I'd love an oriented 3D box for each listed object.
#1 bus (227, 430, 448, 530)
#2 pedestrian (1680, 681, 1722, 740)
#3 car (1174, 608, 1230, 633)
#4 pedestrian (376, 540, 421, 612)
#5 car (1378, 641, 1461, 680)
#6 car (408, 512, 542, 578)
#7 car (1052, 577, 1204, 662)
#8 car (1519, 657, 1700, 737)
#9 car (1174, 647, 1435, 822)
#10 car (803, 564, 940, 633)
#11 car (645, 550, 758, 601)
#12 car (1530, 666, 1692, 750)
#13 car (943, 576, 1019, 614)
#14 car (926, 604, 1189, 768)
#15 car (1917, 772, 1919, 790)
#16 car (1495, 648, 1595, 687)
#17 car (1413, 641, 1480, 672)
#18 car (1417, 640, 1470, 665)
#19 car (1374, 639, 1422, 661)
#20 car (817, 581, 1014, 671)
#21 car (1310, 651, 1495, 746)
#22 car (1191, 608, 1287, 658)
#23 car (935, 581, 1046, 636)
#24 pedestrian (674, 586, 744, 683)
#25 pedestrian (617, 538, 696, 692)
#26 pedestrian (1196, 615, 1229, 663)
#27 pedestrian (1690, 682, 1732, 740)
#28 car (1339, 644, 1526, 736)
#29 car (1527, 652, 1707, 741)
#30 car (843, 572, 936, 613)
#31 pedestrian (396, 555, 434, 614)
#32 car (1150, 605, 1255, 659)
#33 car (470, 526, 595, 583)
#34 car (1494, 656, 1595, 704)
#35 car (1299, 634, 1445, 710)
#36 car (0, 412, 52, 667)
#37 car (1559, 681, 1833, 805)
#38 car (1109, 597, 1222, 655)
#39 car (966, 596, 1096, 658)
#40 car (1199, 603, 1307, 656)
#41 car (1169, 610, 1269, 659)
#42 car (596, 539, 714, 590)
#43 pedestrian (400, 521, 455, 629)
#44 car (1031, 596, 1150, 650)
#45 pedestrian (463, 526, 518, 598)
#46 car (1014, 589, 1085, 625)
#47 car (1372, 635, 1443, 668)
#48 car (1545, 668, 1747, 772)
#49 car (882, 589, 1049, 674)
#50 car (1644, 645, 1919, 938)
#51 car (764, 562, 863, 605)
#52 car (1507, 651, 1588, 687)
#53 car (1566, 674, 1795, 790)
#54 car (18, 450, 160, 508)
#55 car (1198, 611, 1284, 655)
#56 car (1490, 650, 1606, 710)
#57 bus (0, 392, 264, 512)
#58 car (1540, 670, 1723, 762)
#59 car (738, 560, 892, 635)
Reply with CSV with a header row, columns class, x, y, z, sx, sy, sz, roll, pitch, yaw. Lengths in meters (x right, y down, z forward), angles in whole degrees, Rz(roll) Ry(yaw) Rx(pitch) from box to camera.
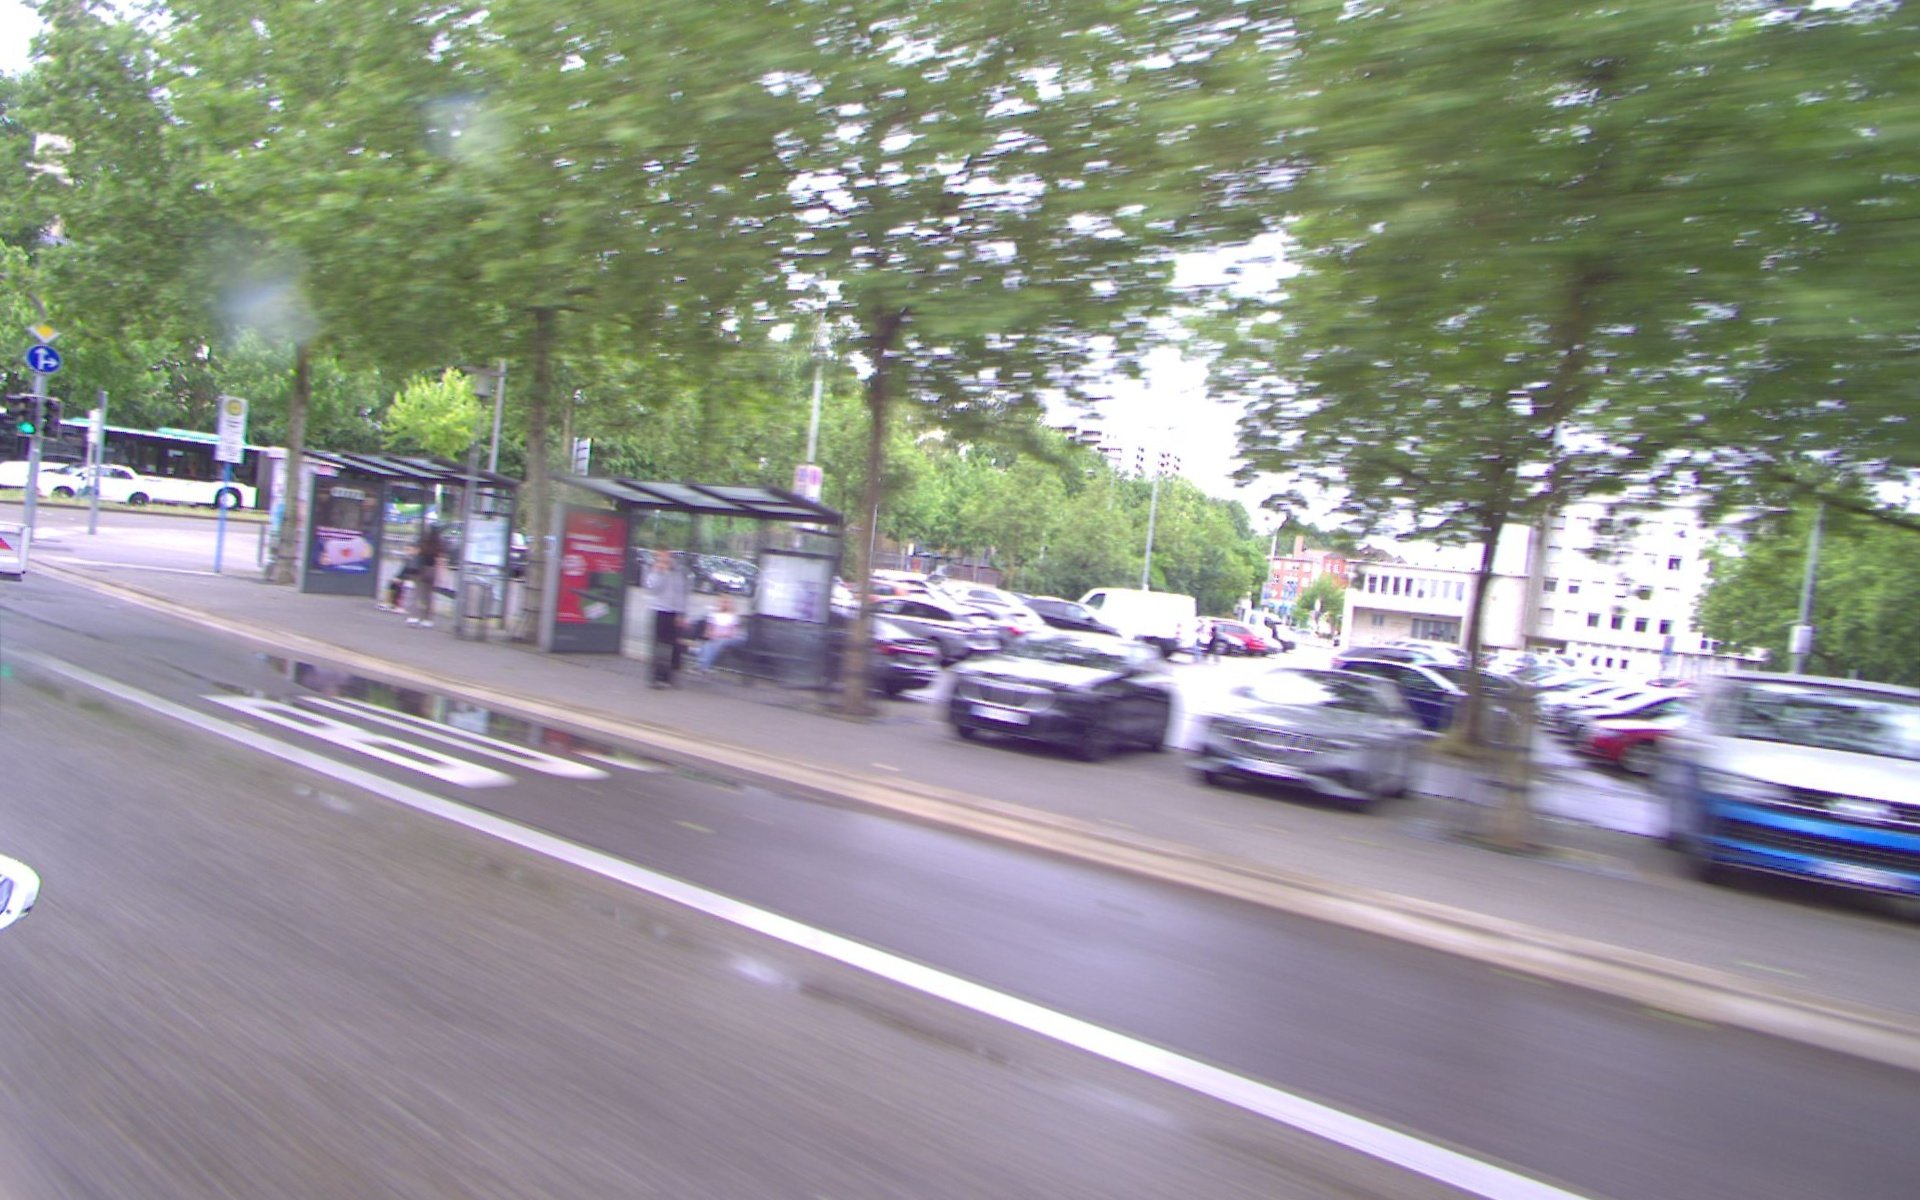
class,x,y,z,sx,sy,sz,roll,pitch,yaw
bus,-29.455,-5.592,48.151,2.642,3.221,8.542,10,2,30
pedestrian,22.189,3.312,30.148,0.727,1.614,0.575,9,4,29
car,18.976,1.624,78.909,3.757,1.440,1.695,9,2,36
pedestrian,-10.646,-0.453,19.079,0.395,1.288,0.499,9,3,31
car,21.463,2.810,47.135,3.293,1.252,1.531,9,3,20
car,-16.248,-1.838,33.671,4.188,1.634,1.802,8,2,28
car,6.172,0.680,37.037,4.923,2.351,1.970,9,3,25
car,21.068,3.088,32.917,4.548,1.692,1.970,9,3,25
car,4.298,1.535,11.968,1.831,1.421,4.748,7,-2,32
car,-2.844,-0.047,32.191,3.930,1.612,1.759,9,3,28
car,-10.468,-1.000,40.673,4.188,1.499,1.853,8,2,28
car,18.323,2.998,28.506,3.548,1.613,1.529,9,3,29
car,1.255,-0.311,60.982,4.199,1.698,1.848,9,2,39
car,1.458,1.092,12.855,1.830,1.501,4.415,7,-2,25
car,23.893,3.755,23.508,3.970,1.602,1.733,6,1,-41
car,31.665,3.655,54.594,4.430,1.441,1.639,7,0,27
car,28.712,3.324,59.354,3.299,1.252,1.528,9,3,32
car,40.543,4.380,84.398,3.860,1.566,1.639,7,0,27
car,40.947,4.697,94.055,3.860,1.566,1.639,7,0,27
car,-1.104,0.584,24.288,4.366,1.459,1.735,9,3,28
car,9.253,2.004,21.104,3.296,1.440,1.639,7,0,27
car,14.304,1.672,51.643,4.287,1.855,1.831,9,3,27
car,1.211,0.323,40.143,3.934,1.587,1.757,9,3,32
pedestrian,-3.728,0.519,14.942,0.617,1.338,0.630,7,1,43
pedestrian,-3.920,0.195,13.043,0.722,1.864,0.755,7,0,-13
pedestrian,9.562,1.478,38.089,0.654,1.671,0.790,5,4,-32
pedestrian,22.930,3.389,30.723,0.727,1.614,0.575,9,4,29
car,11.983,2.214,25.596,3.986,1.586,1.613,9,3,32
car,22.843,3.300,35.261,4.796,2.183,1.970,9,3,25
car,-3.519,-0.381,50.382,4.188,1.459,1.853,8,2,28
pedestrian,-10.247,-0.289,18.910,0.364,1.048,0.400,9,3,31
car,11.374,1.487,47.169,4.287,1.855,1.831,9,3,27
car,-15.399,-1.630,36.210,4.188,1.459,1.853,8,2,28
car,25.206,3.434,43.519,3.536,1.536,1.638,7,0,28
car,11.751,2.002,28.740,3.569,1.524,1.529,9,3,28
car,-10.707,-0.833,9.198,5.451,2.115,2.104,7,0,33
car,13.681,2.605,18.980,3.767,1.446,1.530,9,3,24
car,8.938,1.114,43.725,4.287,1.855,1.831,9,3,27
car,2.057,0.762,29.083,3.297,1.252,1.529,9,3,28
car,18.233,1.817,62.715,5.936,2.391,2.228,9,3,25
car,12.747,1.696,49.568,4.287,1.724,1.831,9,3,27
car,-11.762,-1.374,38.715,4.188,1.372,1.853,8,2,28
pedestrian,-8.877,-0.424,16.795,0.533,1.717,0.553,7,3,-14
car,4.396,0.757,33.959,3.569,1.252,1.529,9,3,28
pedestrian,-11.755,-0.946,25.187,0.846,1.654,0.765,9,3,30
car,5.627,0.418,63.589,3.957,1.698,1.848,9,2,39
car,24.626,2.814,55.387,3.299,1.252,1.528,9,3,32
car,15.734,2.691,23.269,3.551,1.613,1.527,9,3,33
car,0.130,0.801,26.647,3.930,1.612,1.759,9,3,28
car,7.988,1.702,9.620,1.918,1.964,4.846,7,-2,32
car,-6.821,-0.774,46.807,4.188,1.416,1.853,8,2,28
car,34.440,4.036,59.088,3.860,1.566,1.639,7,0,27
car,14.900,2.674,21.054,3.549,1.613,1.569,9,3,30
car,-32.146,-4.451,37.215,1.563,1.470,3.562,10,2,29
car,16.238,1.869,58.188,4.287,1.855,1.831,9,3,27
car,22.310,3.014,38.325,3.548,1.613,1.529,9,3,29
bus,-33.989,-5.880,40.288,2.658,3.258,9.639,10,2,29
car,17.075,2.917,25.782,3.569,1.579,1.529,9,3,28
car,-4.280,-0.084,29.557,4.104,1.612,1.759,9,3,28
